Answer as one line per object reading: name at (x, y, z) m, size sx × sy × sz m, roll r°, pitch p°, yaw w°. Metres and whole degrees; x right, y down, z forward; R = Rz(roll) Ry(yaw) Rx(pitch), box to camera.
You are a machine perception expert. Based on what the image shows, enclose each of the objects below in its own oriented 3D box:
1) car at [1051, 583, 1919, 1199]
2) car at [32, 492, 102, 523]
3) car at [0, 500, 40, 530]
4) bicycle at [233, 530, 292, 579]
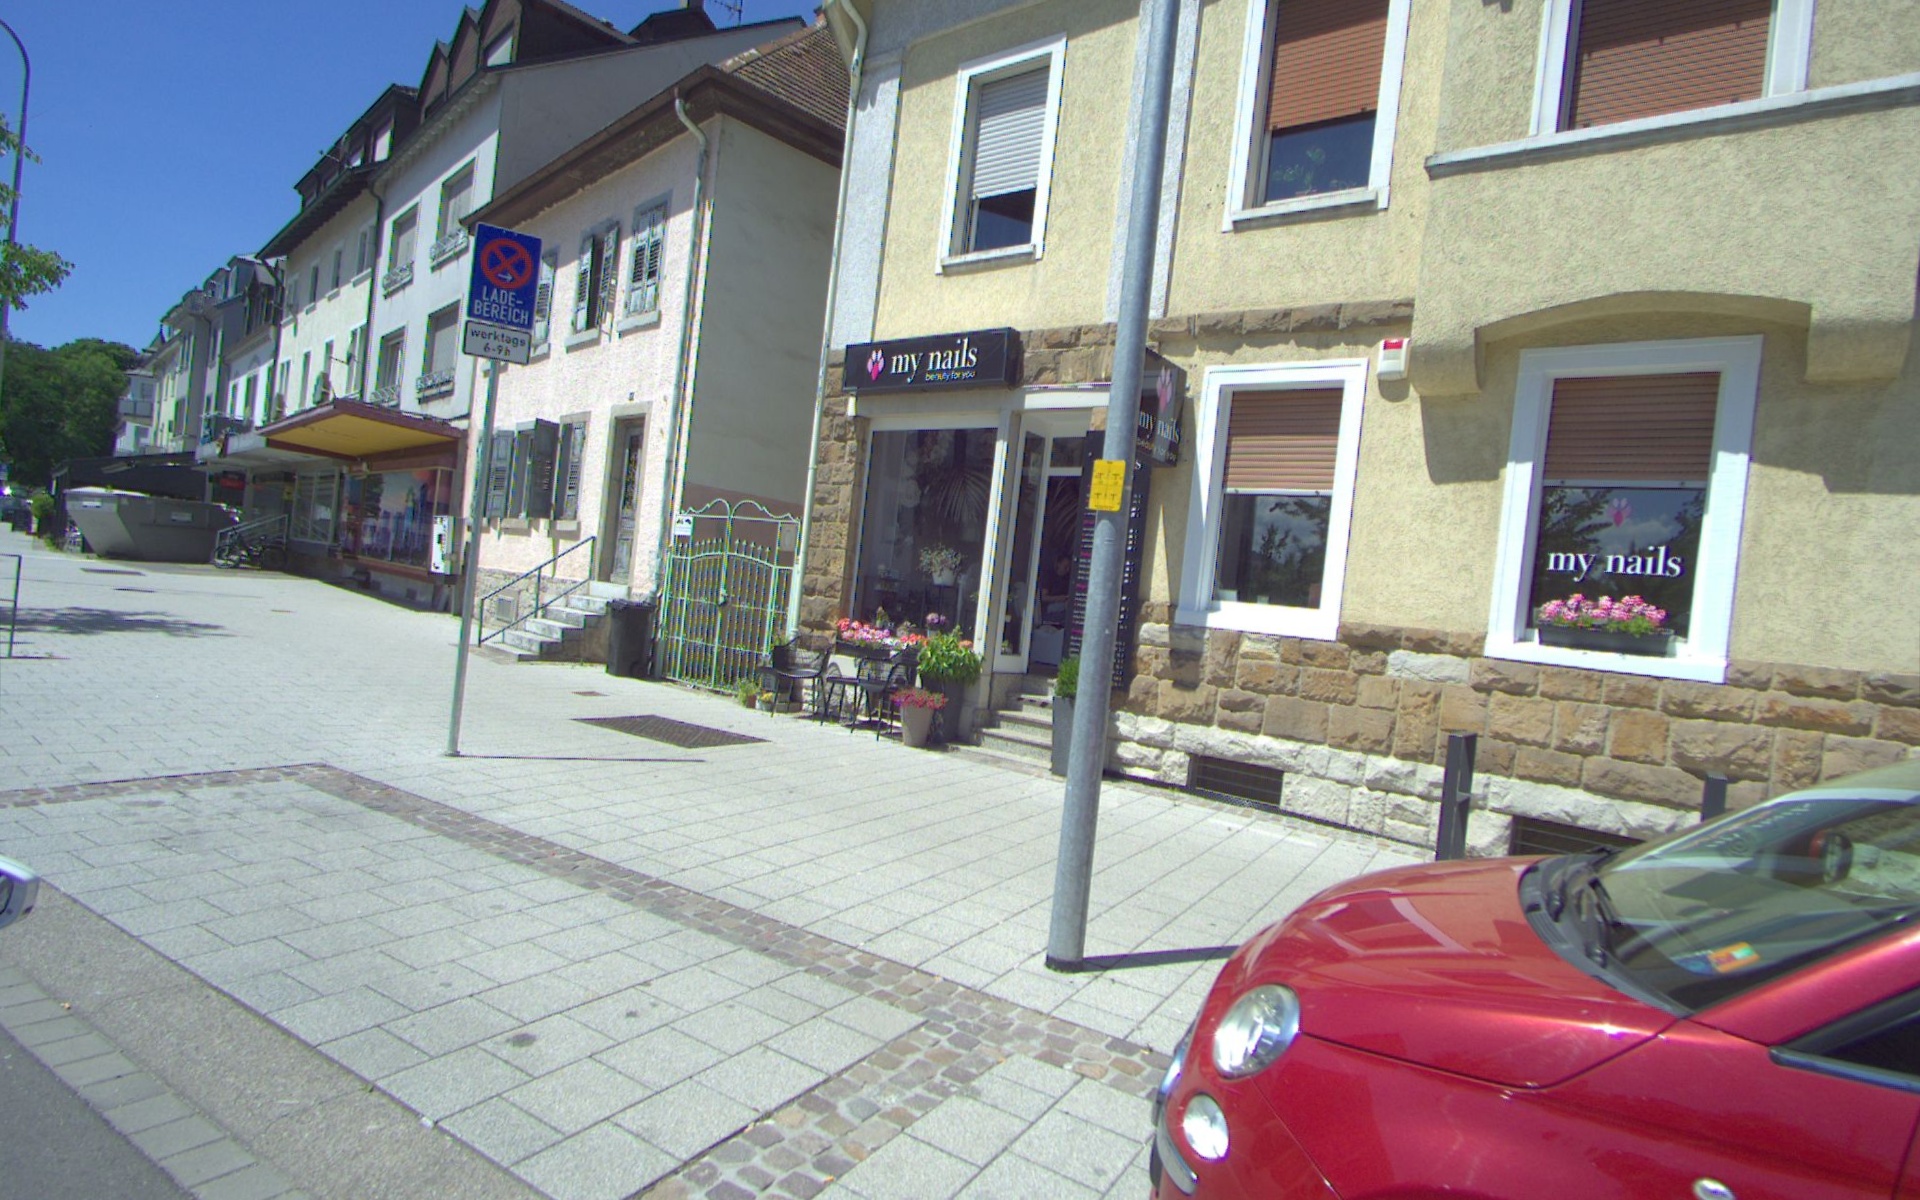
car at (2.043, 0.920, 1.729) m, size 3.329 × 1.534 × 1.680 m, roll 6°, pitch 2°, yaw 30°
car at (-72.501, -7.477, 81.729) m, size 4.066 × 1.735 × 1.833 m, roll 9°, pitch -2°, yaw -45°
car at (-56.024, -5.015, 59.140) m, size 1.856 × 1.511 × 3.831 m, roll 6°, pitch 2°, yaw -29°
bicycle at (-20.013, -1.307, 28.900) m, size 1.263 × 1.197 × 0.411 m, roll 9°, pitch -2°, yaw -35°
